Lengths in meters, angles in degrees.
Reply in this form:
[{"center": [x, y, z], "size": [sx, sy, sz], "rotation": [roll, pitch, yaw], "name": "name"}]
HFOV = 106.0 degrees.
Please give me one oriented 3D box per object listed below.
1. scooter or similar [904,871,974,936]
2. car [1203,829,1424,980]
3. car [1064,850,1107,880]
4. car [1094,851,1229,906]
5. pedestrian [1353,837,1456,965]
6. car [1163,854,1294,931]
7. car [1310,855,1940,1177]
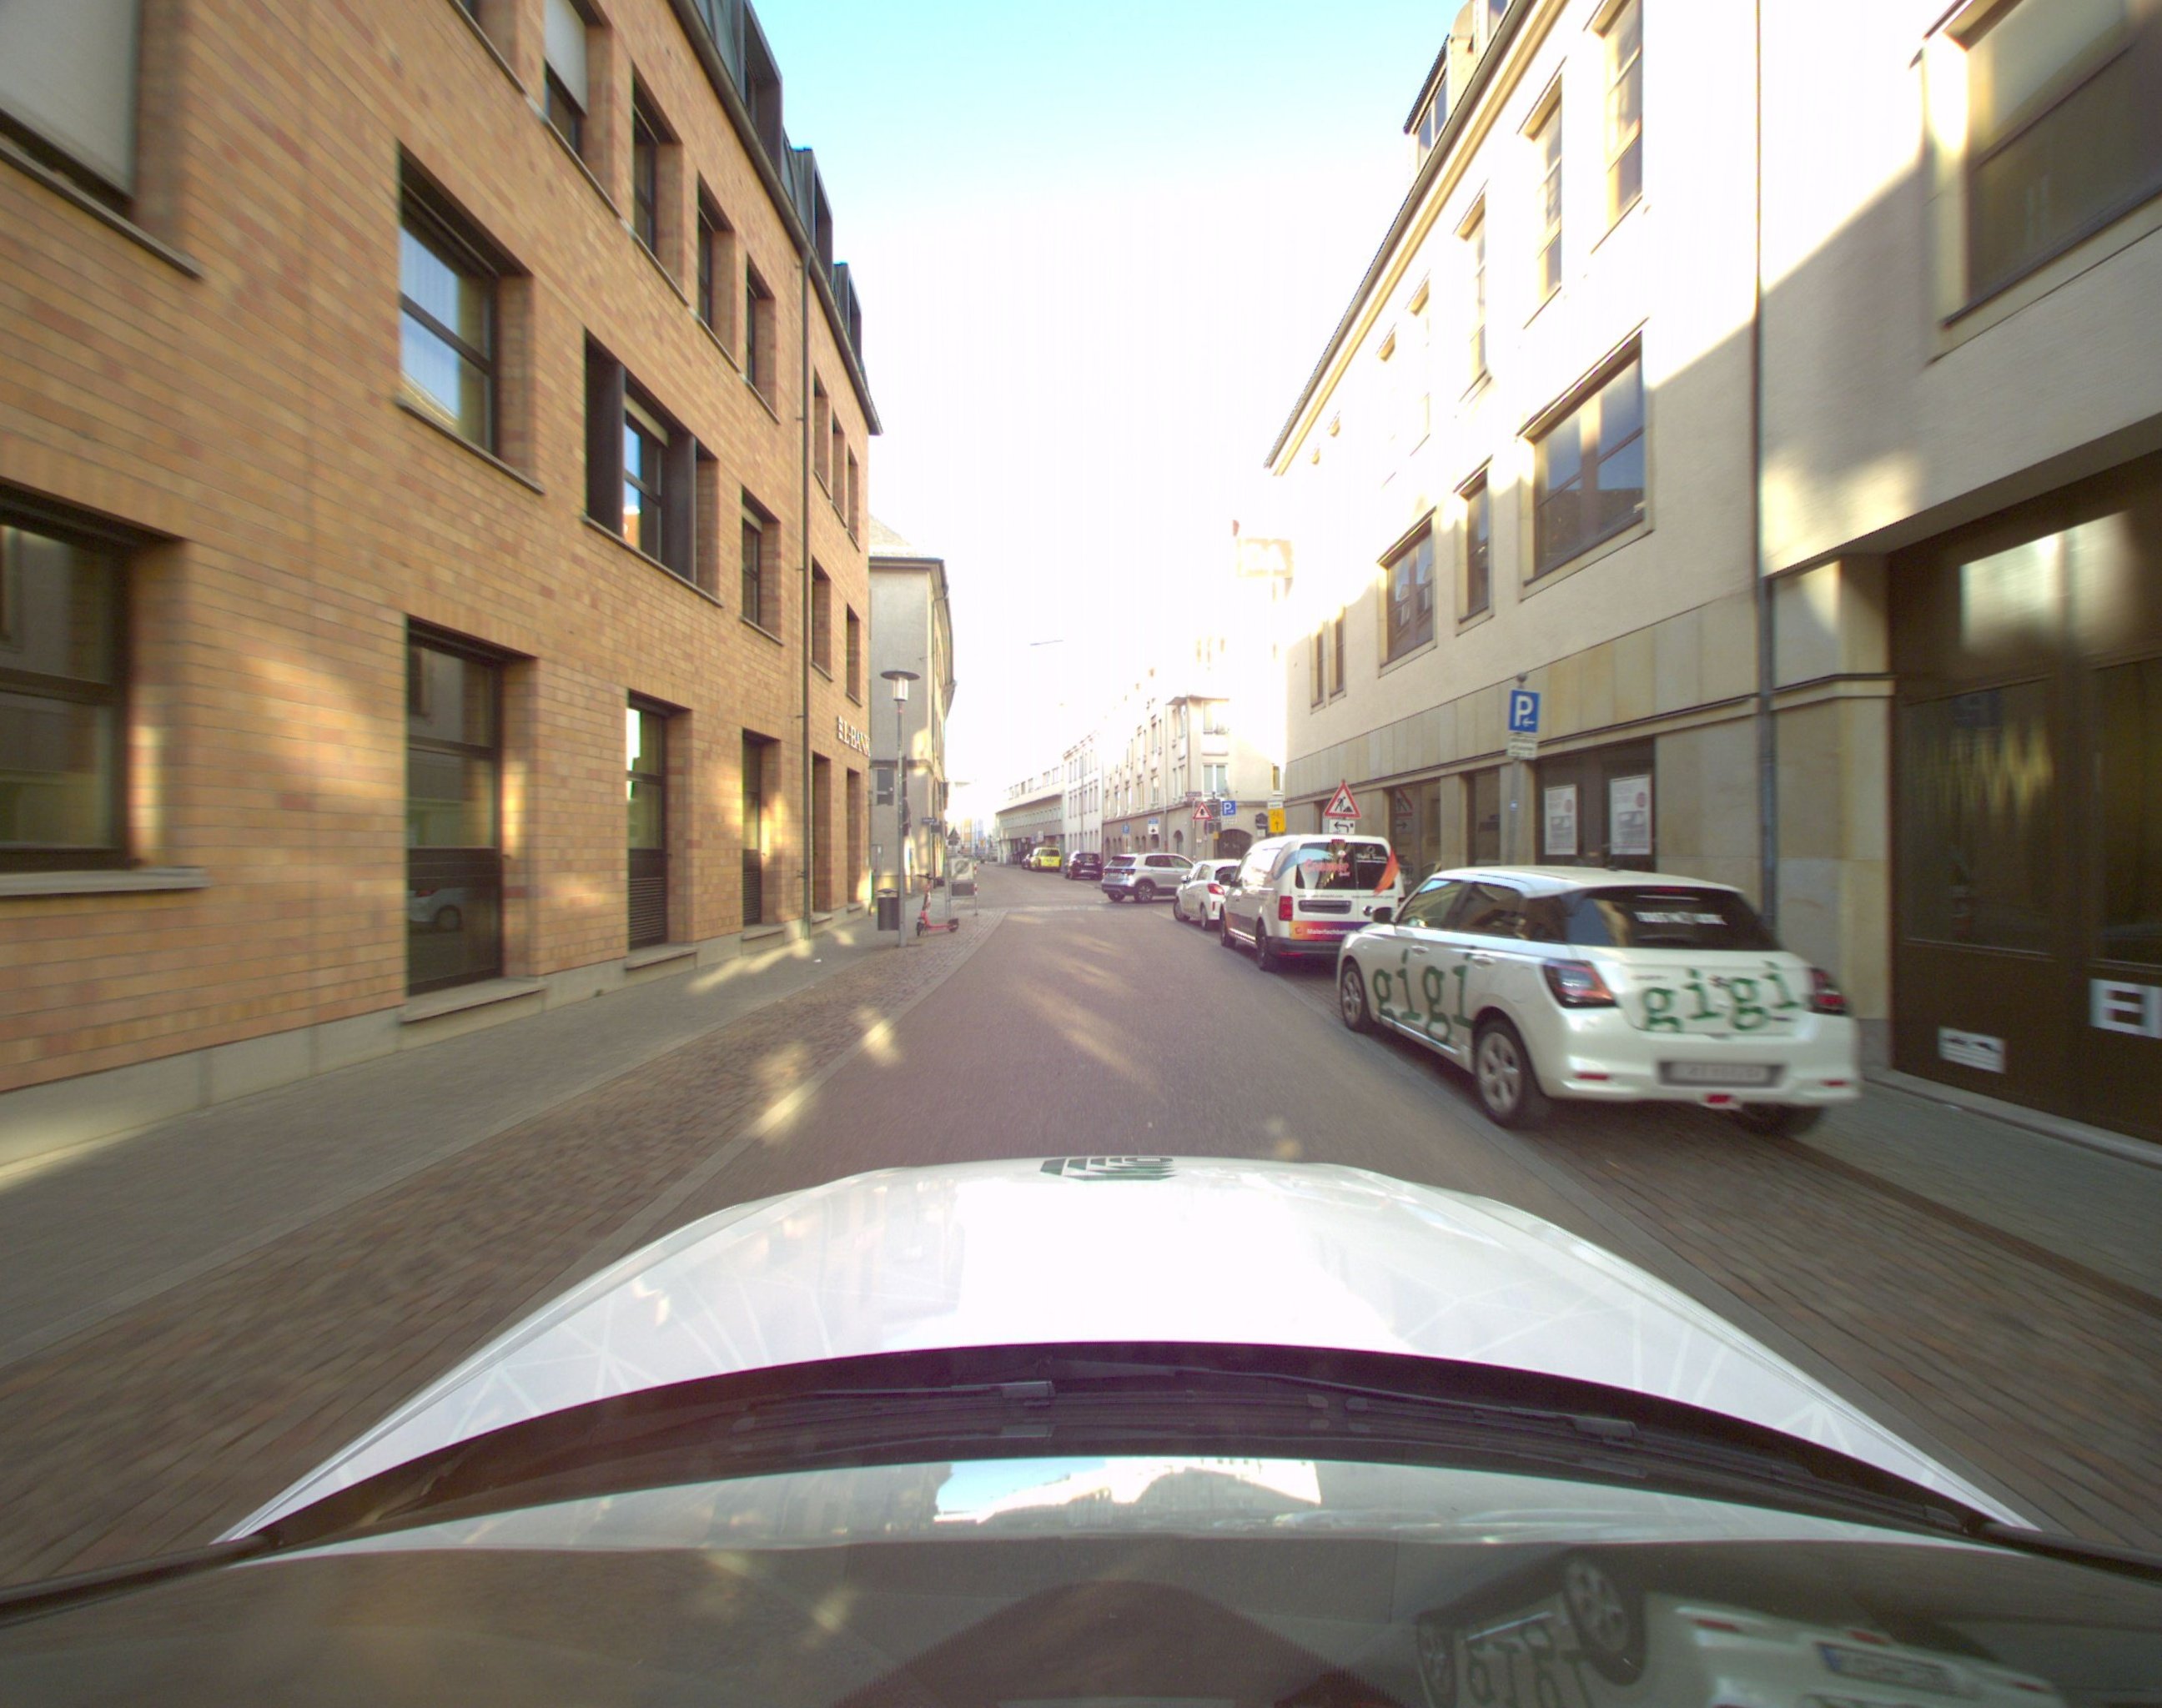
[{"center": [-2.857, 0.981, 16.514], "size": [0.691, 1.217, 1.365], "rotation": [-1, 0, 27], "name": "scooter or similar"}, {"center": [3.179, 0.603, 12.349], "size": [1.825, 1.791, 5.212], "rotation": [1, 0, 0], "name": "car"}, {"center": [0.201, 0.625, 48.176], "size": [1.966, 1.692, 4.090], "rotation": [1, 0, -8], "name": "car"}, {"center": [2.604, 0.733, 26.243], "size": [4.011, 1.562, 1.825], "rotation": [-1, 0, -29], "name": "car"}, {"center": [4.788, 0.669, 12.150], "size": [1.039, 1.801, 1.198], "rotation": [0, -1, -1], "name": "pedestrian"}, {"center": [3.157, 0.763, 18.289], "size": [1.885, 1.518, 4.055], "rotation": [0, 0, -5], "name": "car"}, {"center": [3.242, 0.797, 6.044], "size": [1.835, 1.478, 4.166], "rotation": [2, 0, -1], "name": "car"}]
